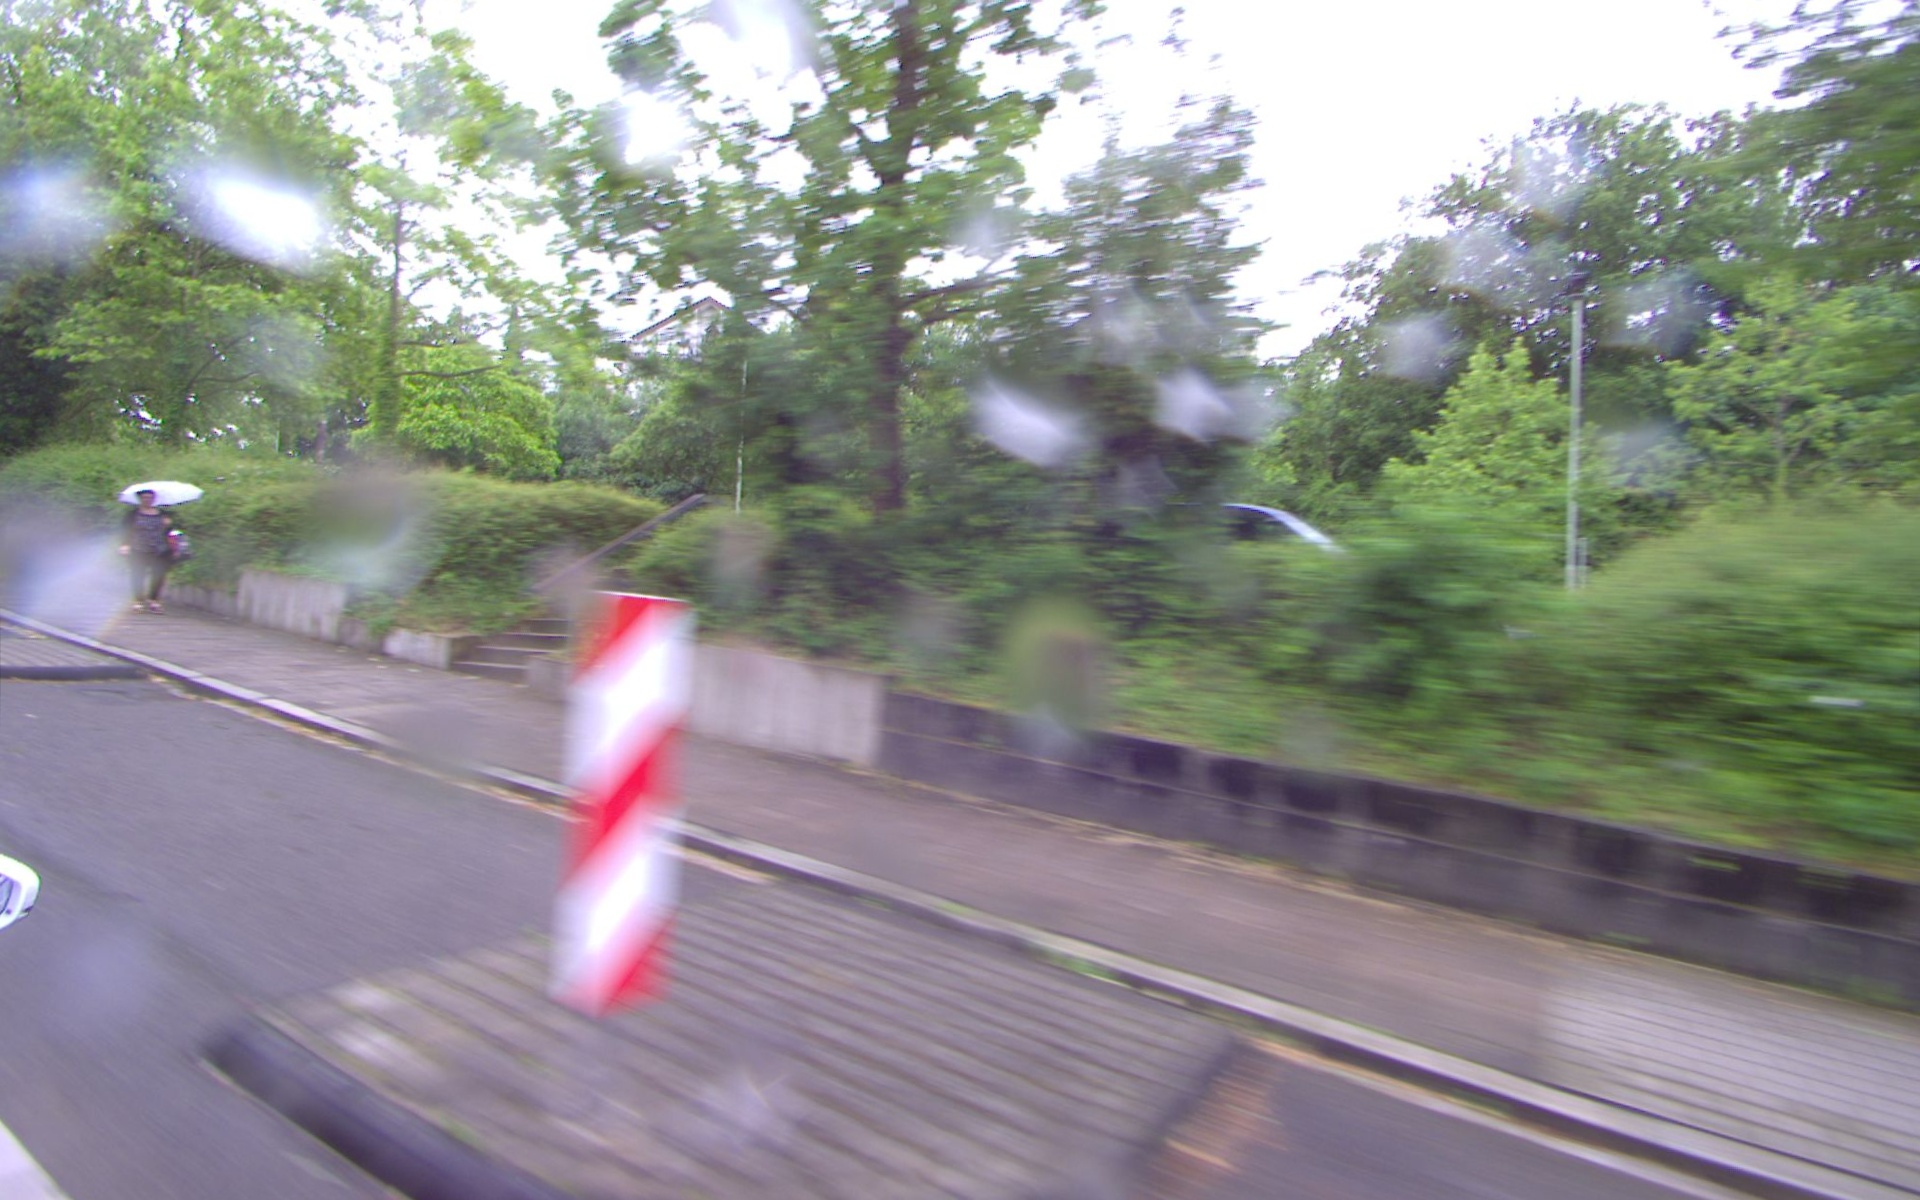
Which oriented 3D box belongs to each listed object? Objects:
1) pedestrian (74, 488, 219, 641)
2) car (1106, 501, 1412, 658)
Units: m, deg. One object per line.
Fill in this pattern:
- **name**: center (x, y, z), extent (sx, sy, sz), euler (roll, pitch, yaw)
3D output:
- **pedestrian**: center (-10.892, -0.460, 13.488), extent (1.113, 1.916, 1.053), euler (4, -1, 27)
- **car**: center (3.200, -0.234, 10.811), extent (2.828, 1.324, 1.309), euler (6, -1, 29)
